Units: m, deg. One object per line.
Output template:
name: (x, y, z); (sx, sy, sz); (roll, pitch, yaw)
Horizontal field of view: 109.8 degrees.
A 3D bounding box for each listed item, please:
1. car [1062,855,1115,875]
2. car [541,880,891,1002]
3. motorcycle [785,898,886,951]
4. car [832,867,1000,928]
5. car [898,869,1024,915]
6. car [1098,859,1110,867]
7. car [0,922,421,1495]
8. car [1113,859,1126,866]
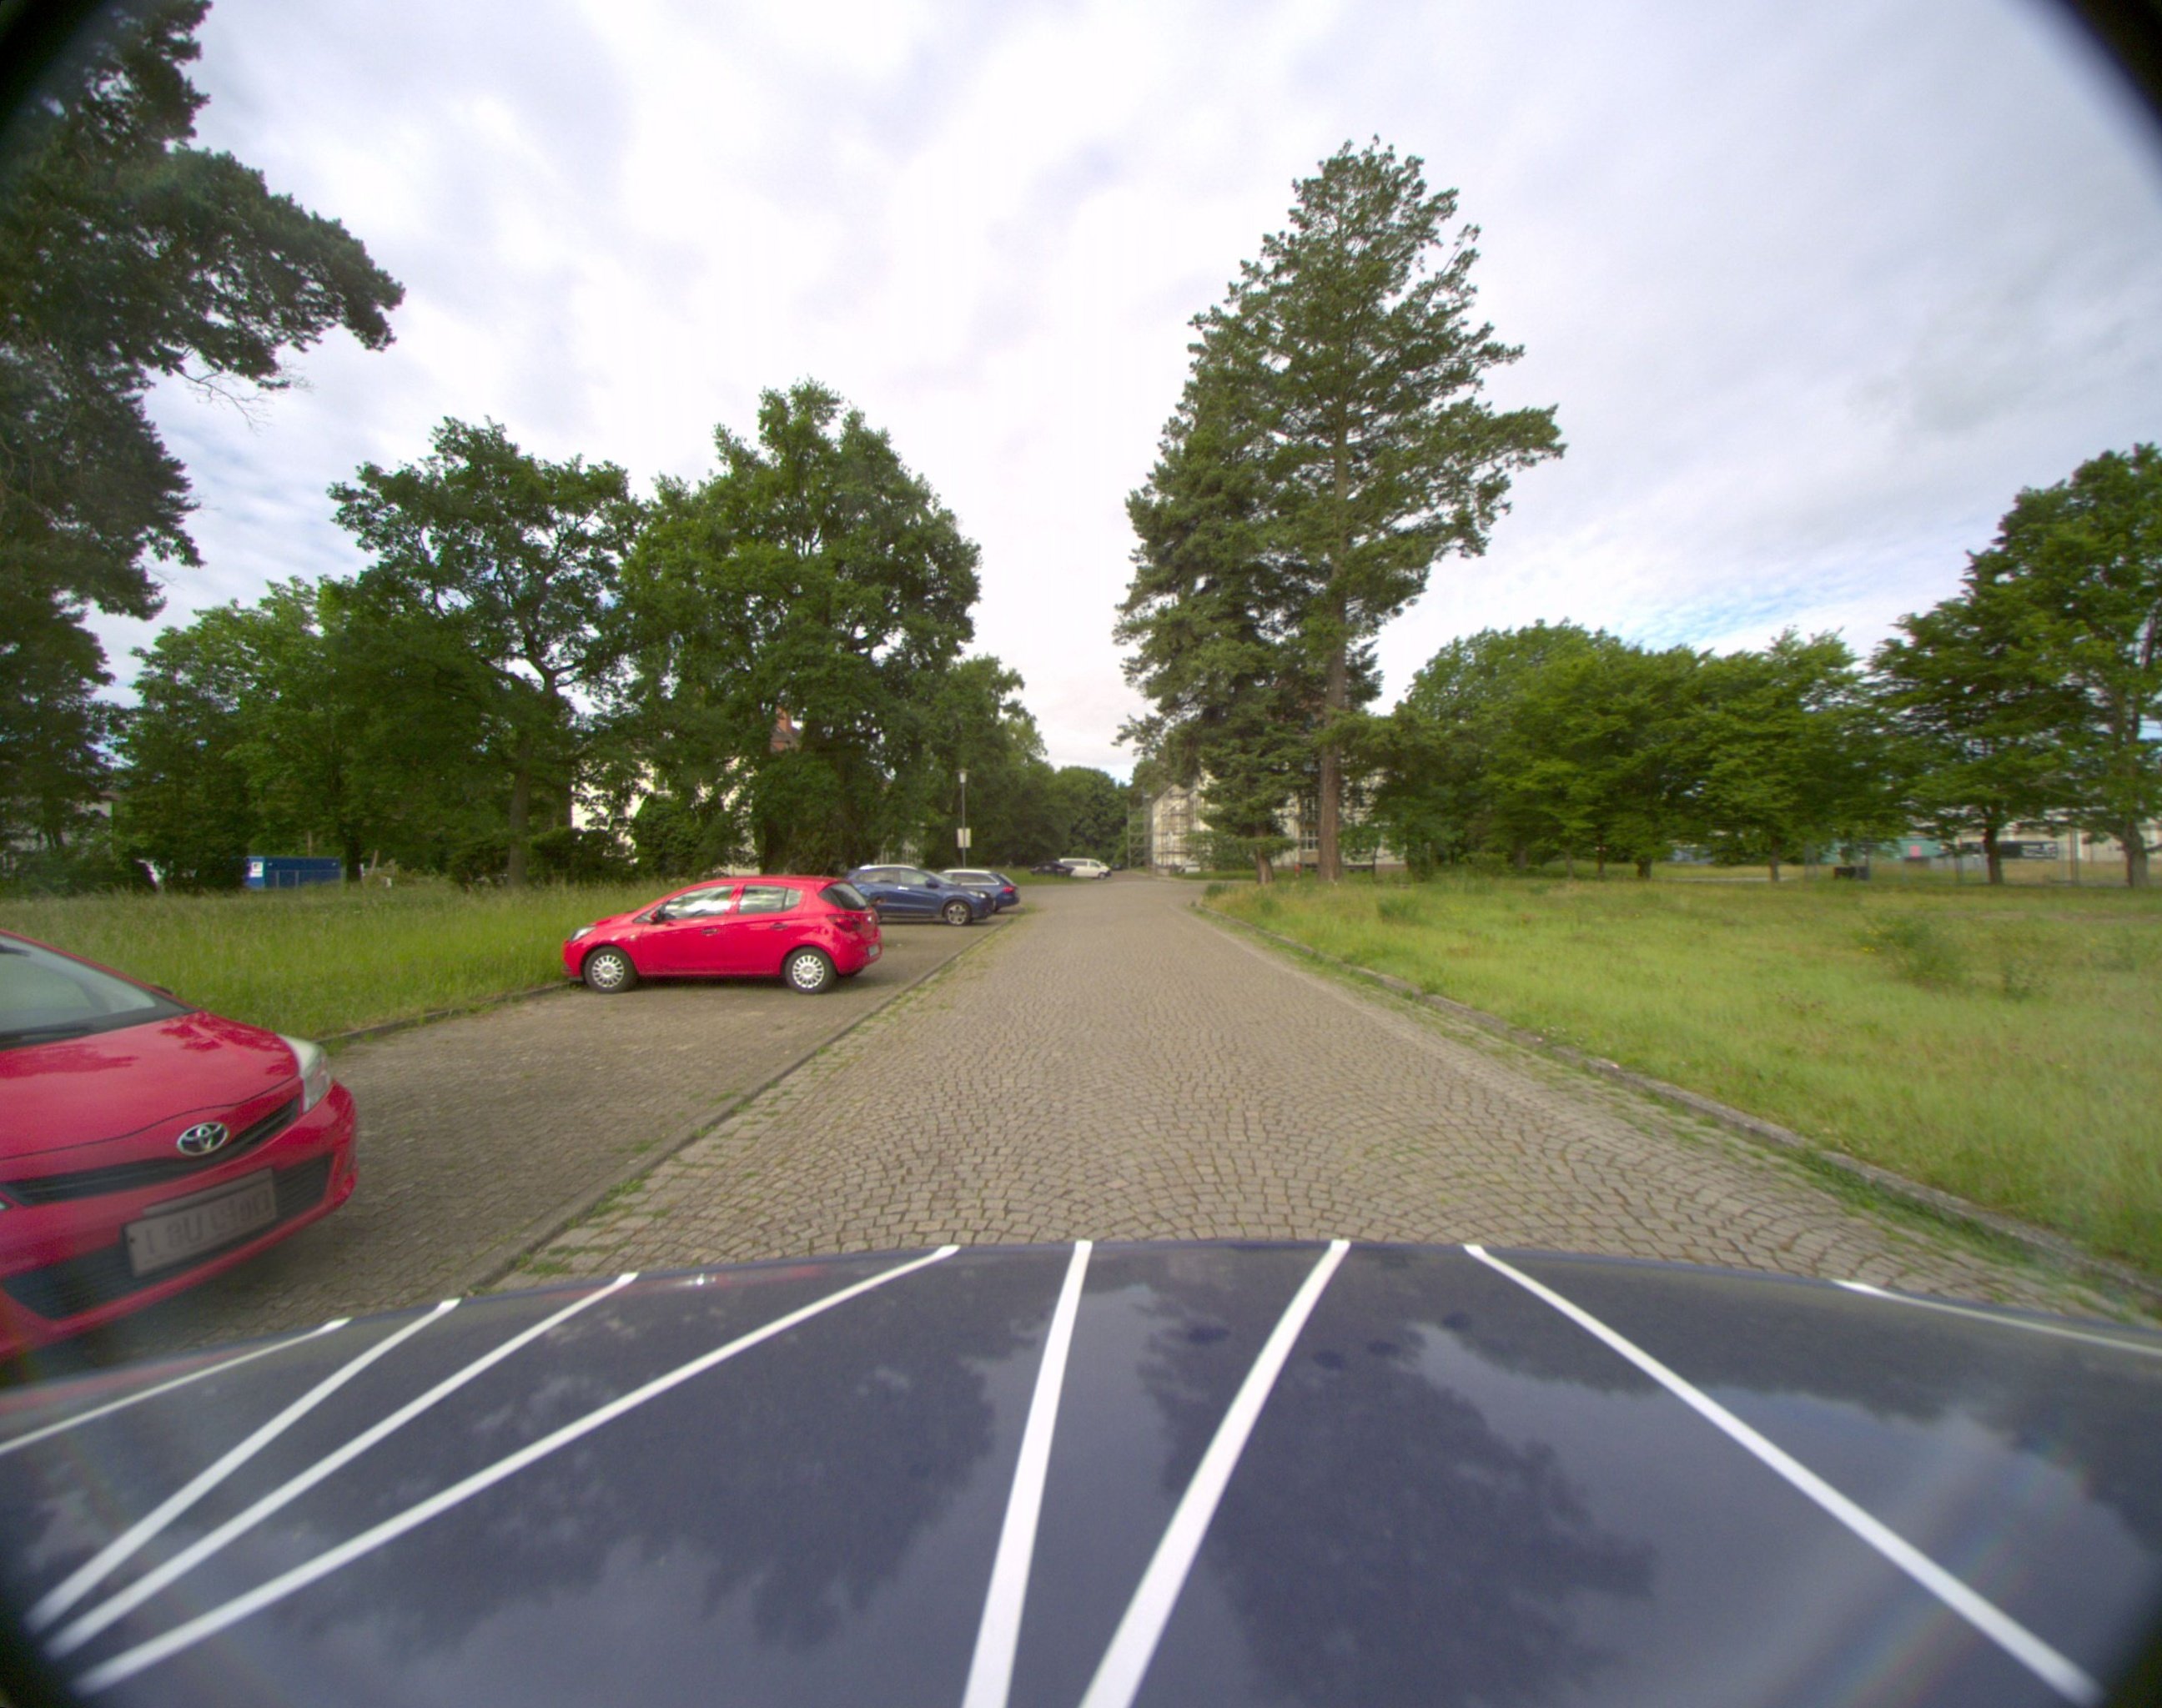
car: (0.717, 1.037, 73.761); (5.140, 1.860, 1.723); (0, 0, 0)
car: (-4.682, 1.095, 10.130); (3.894, 1.451, 1.582); (0, 0, 0)
motorcycle: (-4.676, 1.343, 14.562); (1.745, 0.951, 0.614); (0, 0, -5)
car: (-4.334, 1.128, 20.369); (4.150, 1.529, 1.582); (0, 0, 0)
car: (-3.894, 1.228, 25.023); (3.877, 1.417, 1.582); (0, 0, 0)
car: (4.239, 1.659, 140.133); (1.870, 1.408, 4.695); (1, 0, -3)
car: (-5.002, 1.040, 2.584); (4.016, 1.477, 1.766); (0, 0, 1)
car: (7.134, 1.568, 140.628); (1.870, 1.408, 4.695); (1, 0, -3)
